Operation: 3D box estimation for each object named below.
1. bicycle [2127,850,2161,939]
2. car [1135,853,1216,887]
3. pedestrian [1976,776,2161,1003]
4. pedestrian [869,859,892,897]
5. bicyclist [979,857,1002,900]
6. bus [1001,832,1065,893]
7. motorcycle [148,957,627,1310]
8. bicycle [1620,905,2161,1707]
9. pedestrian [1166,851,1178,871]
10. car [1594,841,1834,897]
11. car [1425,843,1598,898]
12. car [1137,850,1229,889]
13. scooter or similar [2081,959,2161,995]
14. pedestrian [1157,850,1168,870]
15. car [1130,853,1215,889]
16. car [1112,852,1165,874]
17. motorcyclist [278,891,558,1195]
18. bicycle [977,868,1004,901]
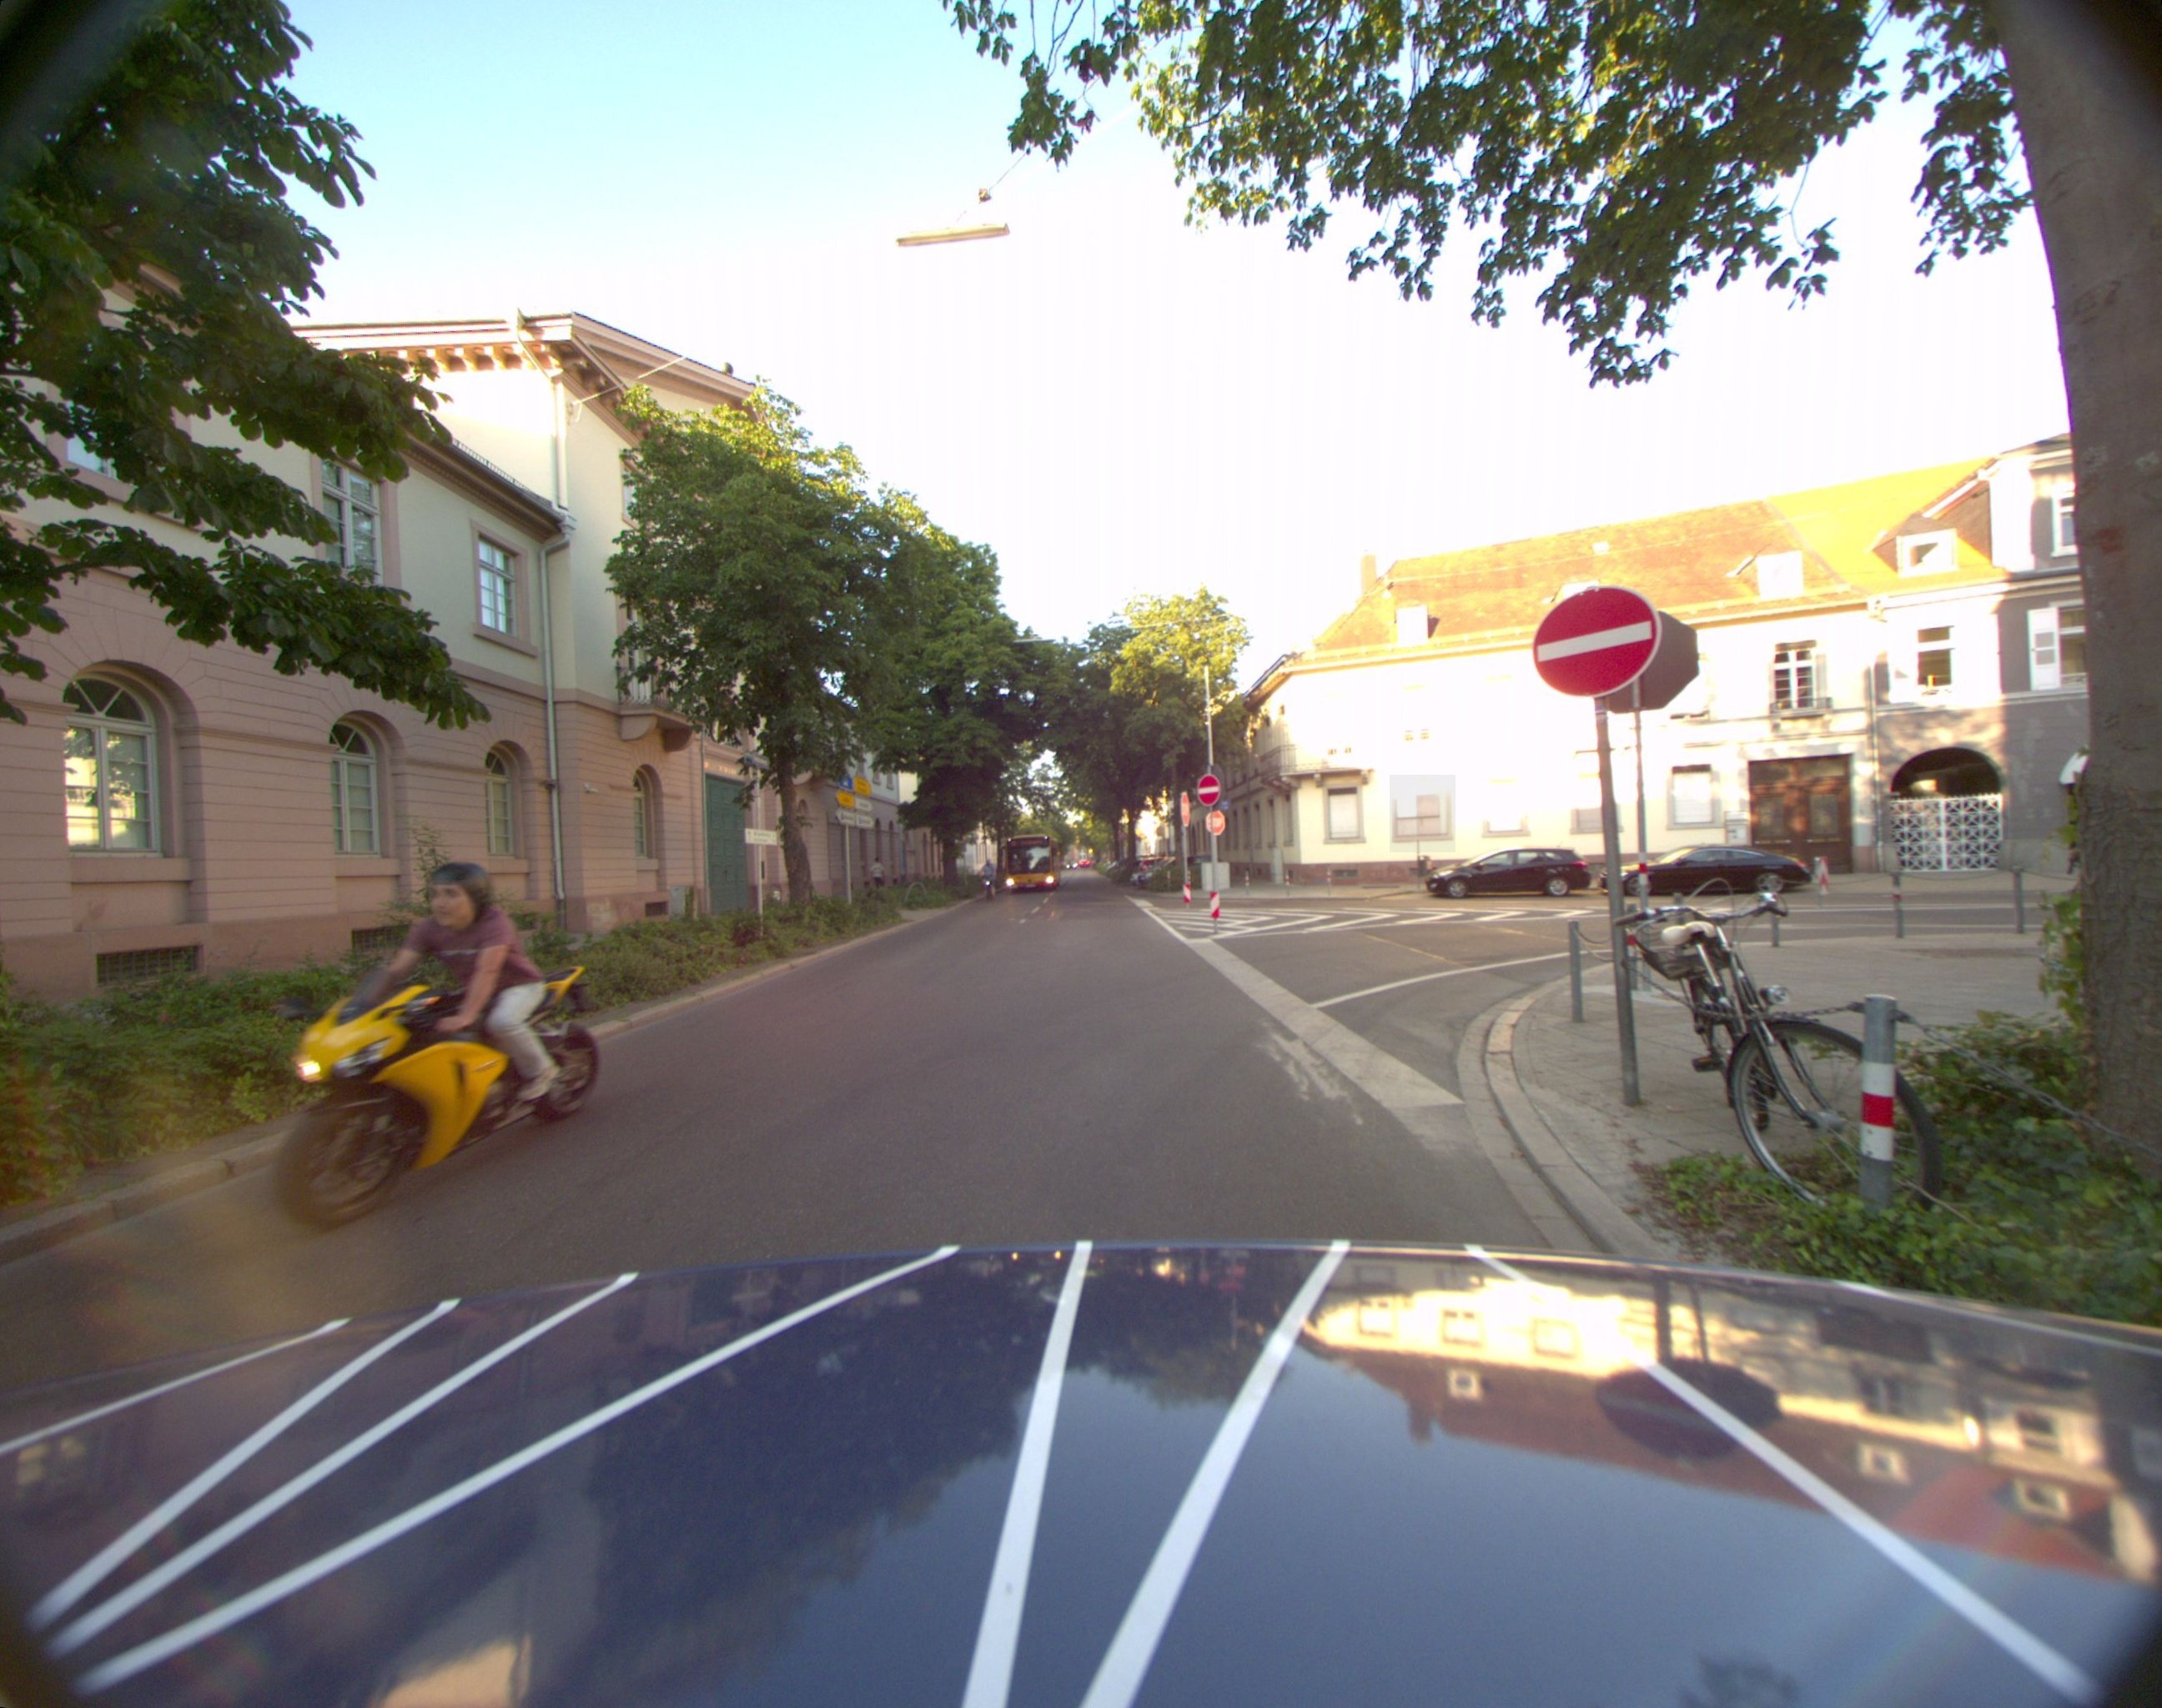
[{"bbox_3d":[14.413,0.481,9.238,1.799,1.118,0.730,-3,-3,32],"label":"bicycle"},{"bbox_3d":[4.954,0.845,40.337,3.997,1.605,1.723,-2,0,-1],"label":"car"},{"bbox_3d":[8.587,0.272,6.237,0.851,1.728,1.266,-3,-2,-10],"label":"pedestrian"},{"bbox_3d":[-9.741,1.144,36.978,0.800,1.821,0.929,-2,0,-2],"label":"pedestrian"},{"bbox_3d":[-3.936,1.059,33.076,0.783,1.828,0.826,-4,0,0],"label":"bicyclist"},{"bbox_3d":[-2.601,0.459,45.428,2.711,2.982,12.082,-4,0,1],"label":"bus"},{"bbox_3d":[-3.467,1.294,4.144,0.793,1.153,1.966,-4,0,-3],"label":"motorcycle"},{"bbox_3d":[2.398,0.851,1.926,0.844,1.260,2.575,-2,0,16],"label":"bicycle"},{"bbox_3d":[8.224,0.611,68.534,0.894,1.760,1.021,-2,0,-1],"label":"pedestrian"},{"bbox_3d":[17.471,0.449,21.308,4.846,1.386,1.782,-2,-1,25],"label":"car"},{"bbox_3d":[13.017,0.518,23.312,4.420,1.532,1.810,-2,-1,23],"label":"car"},{"bbox_3d":[4.713,0.713,35.508,3.997,1.605,1.828,-2,0,-1],"label":"car"},{"bbox_3d":[8.916,1.020,6.205,0.418,0.206,0.883,-3,-2,11],"label":"scooter or similar"},{"bbox_3d":[7.366,0.548,68.515,0.806,1.760,1.021,-2,0,-1],"label":"pedestrian"},{"bbox_3d":[4.516,0.839,37.906,3.997,1.605,1.723,-2,0,-1],"label":"car"},{"bbox_3d":[4.556,0.725,60.353,3.997,1.605,1.723,-2,0,-1],"label":"car"},{"bbox_3d":[-3.497,0.944,4.086,0.793,1.412,0.699,-4,0,-3],"label":"motorcyclist"},{"bbox_3d":[-3.917,1.317,33.041,0.783,1.322,2.078,-4,0,0],"label":"bicycle"}]
